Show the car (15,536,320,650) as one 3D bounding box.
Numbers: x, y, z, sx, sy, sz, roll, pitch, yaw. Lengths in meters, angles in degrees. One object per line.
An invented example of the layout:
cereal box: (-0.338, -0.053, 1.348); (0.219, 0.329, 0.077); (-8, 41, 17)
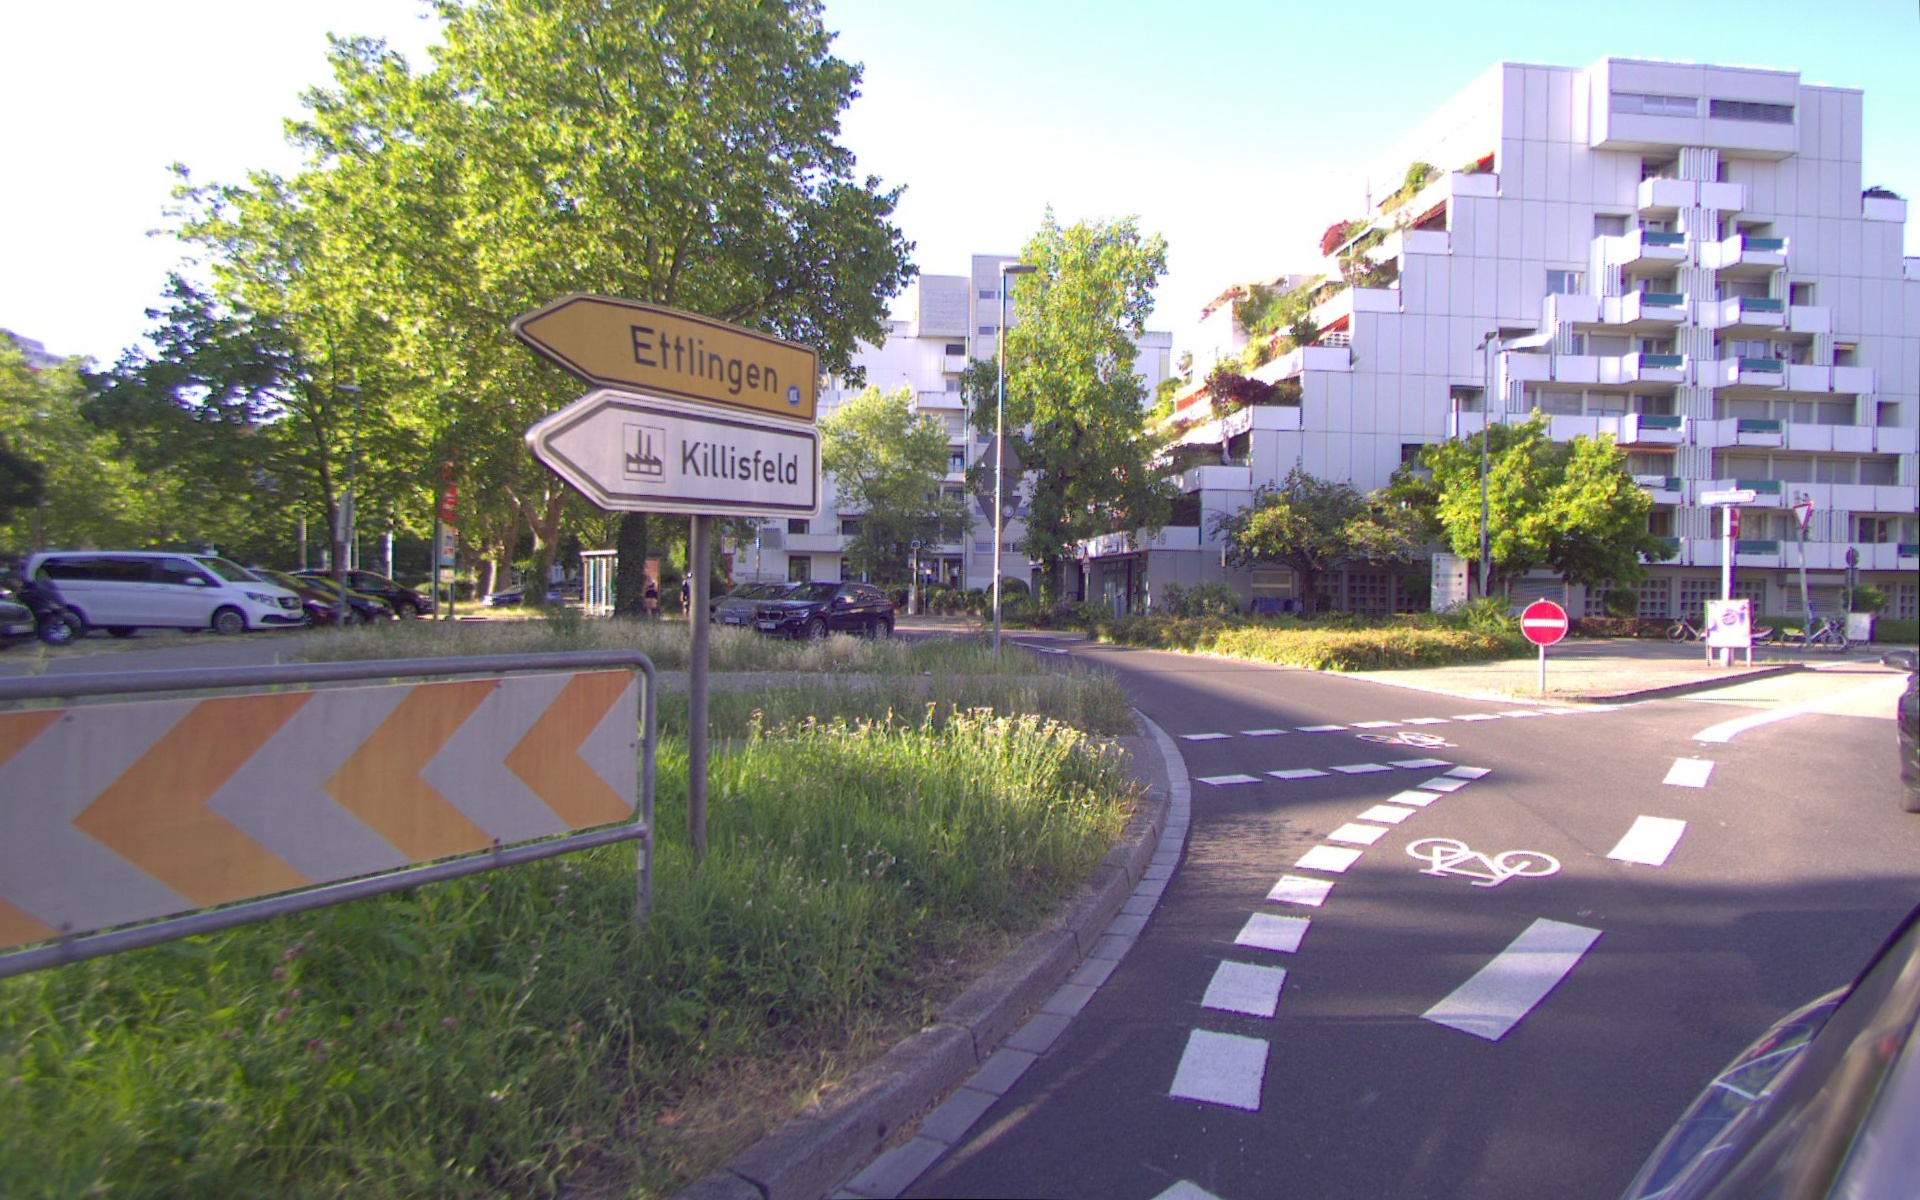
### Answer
car: (-17.568, -0.137, 22.696); (4.948, 2.123, 2.005); (4, 0, -9)

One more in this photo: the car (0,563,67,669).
car: (-16.403, 0.124, 15.333); (3.903, 1.542, 1.679); (4, 0, -14)

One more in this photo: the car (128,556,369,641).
car: (-17.985, -0.039, 25.822); (4.538, 1.798, 2.005); (4, 0, -9)

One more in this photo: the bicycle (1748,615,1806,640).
bicycle: (28.898, 0.963, 35.821); (1.570, 0.794, 0.457); (2, 1, 43)

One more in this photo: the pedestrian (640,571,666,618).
pedestrian: (-11.084, -0.193, 36.545); (0.619, 1.683, 0.743); (0, 1, -41)

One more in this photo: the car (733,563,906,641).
car: (-3.393, 0.100, 25.278); (1.922, 1.680, 4.430); (4, 0, 29)

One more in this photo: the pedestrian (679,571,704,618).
pedestrian: (-9.674, -0.212, 36.495); (0.712, 1.683, 0.745); (1, 0, 0)

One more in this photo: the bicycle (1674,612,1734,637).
bicycle: (26.843, 0.879, 36.523); (1.673, 0.848, 0.463); (1, 1, 10)

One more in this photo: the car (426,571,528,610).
car: (-23.371, -0.483, 49.065); (4.045, 1.821, 1.994); (-2, 1, -45)

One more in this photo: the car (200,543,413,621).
car: (-18.224, -0.486, 28.434); (4.538, 1.798, 2.005); (4, 0, -9)

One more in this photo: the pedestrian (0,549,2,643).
pedestrian: (-18.166, -0.068, 18.648); (0.521, 1.773, 0.562); (-1, 0, -14)

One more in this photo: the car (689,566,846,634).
car: (-5.176, 0.048, 27.738); (1.813, 1.607, 4.323); (4, 0, 29)

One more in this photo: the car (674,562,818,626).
car: (-6.356, -0.157, 30.416); (1.862, 1.659, 3.947); (3, 0, 36)

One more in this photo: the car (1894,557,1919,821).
car: (7.829, 0.535, 7.058); (1.838, 1.565, 4.455); (-1, -1, 42)

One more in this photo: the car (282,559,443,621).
car: (-20.275, -0.331, 34.547); (4.539, 1.798, 2.004); (4, 0, -29)

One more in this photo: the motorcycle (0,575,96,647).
motorcycle: (-17.074, 0.179, 18.100); (2.268, 1.264, 0.954); (1, 1, -13)
